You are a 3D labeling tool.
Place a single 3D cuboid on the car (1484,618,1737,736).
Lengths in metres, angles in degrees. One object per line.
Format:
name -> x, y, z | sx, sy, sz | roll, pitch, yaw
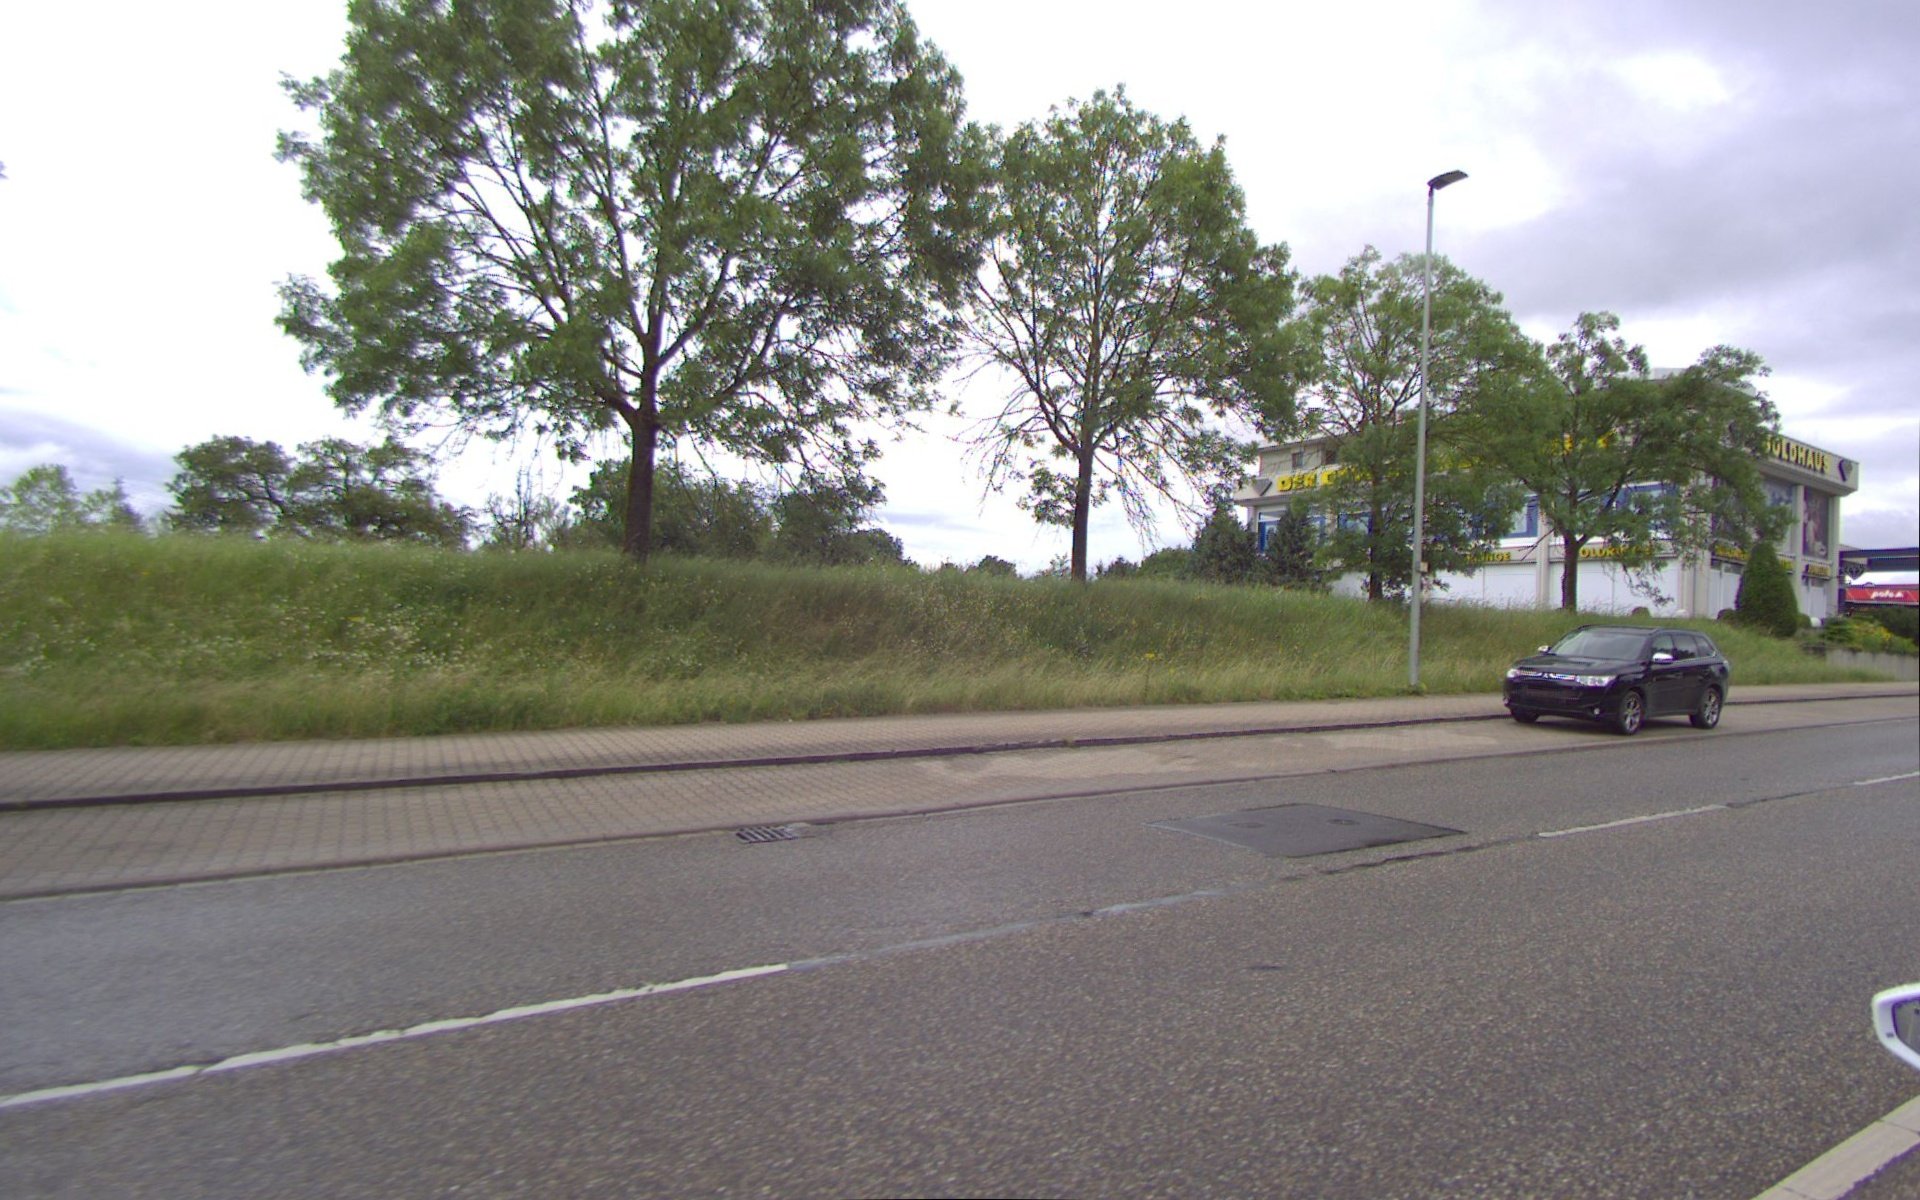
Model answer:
car -> 10.904, 1.197, 16.761 | 4.435, 1.690, 1.717 | 1, 1, -30
